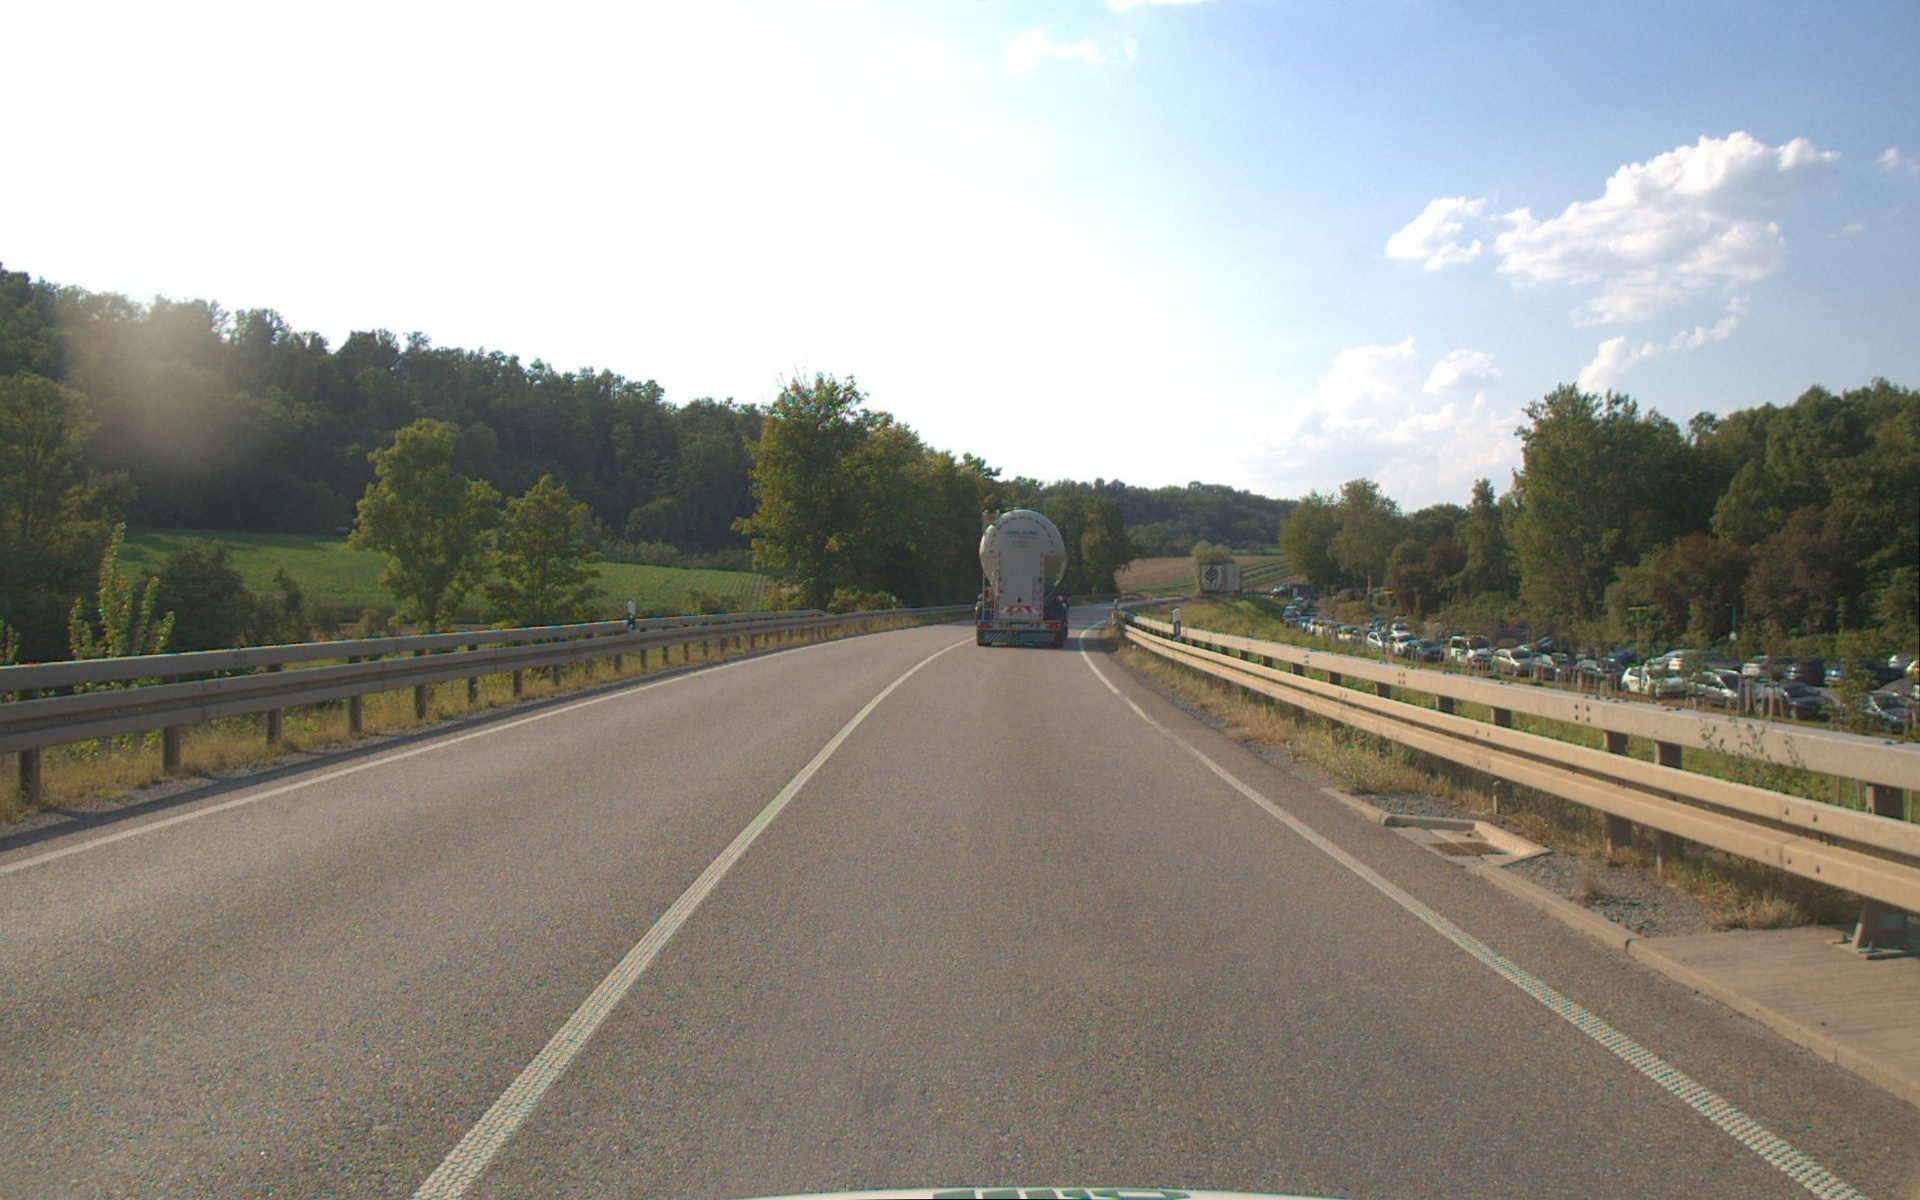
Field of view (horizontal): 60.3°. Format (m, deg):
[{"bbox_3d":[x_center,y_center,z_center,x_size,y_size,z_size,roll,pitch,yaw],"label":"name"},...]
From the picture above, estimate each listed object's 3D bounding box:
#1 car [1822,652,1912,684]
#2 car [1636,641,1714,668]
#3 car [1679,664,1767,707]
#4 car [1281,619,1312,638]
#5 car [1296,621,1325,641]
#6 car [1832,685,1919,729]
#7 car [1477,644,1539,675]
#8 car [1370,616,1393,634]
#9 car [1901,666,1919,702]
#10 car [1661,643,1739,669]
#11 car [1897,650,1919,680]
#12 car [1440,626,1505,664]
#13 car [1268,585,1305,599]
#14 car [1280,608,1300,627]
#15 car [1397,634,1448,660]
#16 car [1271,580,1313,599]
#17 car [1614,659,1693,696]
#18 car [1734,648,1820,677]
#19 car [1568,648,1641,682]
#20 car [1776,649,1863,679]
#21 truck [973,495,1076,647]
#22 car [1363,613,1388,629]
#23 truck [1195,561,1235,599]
[{"bbox_3d":[48.198,3.600,87.932,4.158,1.481,1.613,-1,1,-12],"label":"car"},{"bbox_3d":[43.988,3.353,101.819,4.157,1.524,1.768,1,1,-11],"label":"car"},{"bbox_3d":[36.684,4.079,79.634,1.784,1.687,4.248,-2,2,-9],"label":"car"},{"bbox_3d":[33.391,2.826,164.044,1.854,1.586,4.781,-4,2,-2],"label":"car"},{"bbox_3d":[33.455,2.956,157.918,1.853,1.586,4.785,-3,2,3],"label":"car"},{"bbox_3d":[37.722,4.350,67.542,1.623,1.523,4.216,-1,0,-7],"label":"car"},{"bbox_3d":[33.929,3.687,102.548,1.855,1.508,4.778,-4,2,-5],"label":"car"},{"bbox_3d":[39.779,2.345,156.031,1.665,1.423,4.789,-3,0,10],"label":"car"},{"bbox_3d":[45.415,3.788,75.499,4.151,1.481,1.616,-2,1,-6],"label":"car"},{"bbox_3d":[44.345,3.371,99.102,4.158,1.481,1.613,1,0,-12],"label":"car"},{"bbox_3d":[52.165,3.549,88.435,1.470,1.481,3.659,-2,2,-16],"label":"car"},{"bbox_3d":[33.710,2.931,108.984,2.078,2.052,5.374,-4,2,-5],"label":"car"},{"bbox_3d":[41.726,-1.047,211.514,4.232,1.423,1.717,4,3,-10],"label":"car"},{"bbox_3d":[35.094,1.836,175.722,1.851,1.586,4.788,-3,2,13],"label":"car"},{"bbox_3d":[32.910,3.311,117.775,1.855,1.508,4.778,-4,2,-5],"label":"car"},{"bbox_3d":[43.219,-1.402,215.259,5.034,1.976,1.976,6,3,17],"label":"car"},{"bbox_3d":[36.020,4.007,85.965,1.784,1.508,4.248,-2,2,-9],"label":"car"},{"bbox_3d":[46.376,3.527,93.866,4.329,1.481,1.728,0,1,-16],"label":"car"},{"bbox_3d":[35.349,3.553,90.821,1.784,1.508,4.386,-2,2,-9],"label":"car"},{"bbox_3d":[47.177,3.521,90.796,4.158,1.481,1.613,0,1,-12],"label":"car"},{"bbox_3d":[2.221,-0.792,52.713,2.832,4.215,13.178,1,0,4],"label":"truck"},{"bbox_3d":[41.769,2.083,166.216,1.666,1.423,4.784,-3,0,22],"label":"car"},{"bbox_3d":[30.284,-2.472,195.765,3.116,4.301,13.183,0,1,16],"label":"truck"}]
